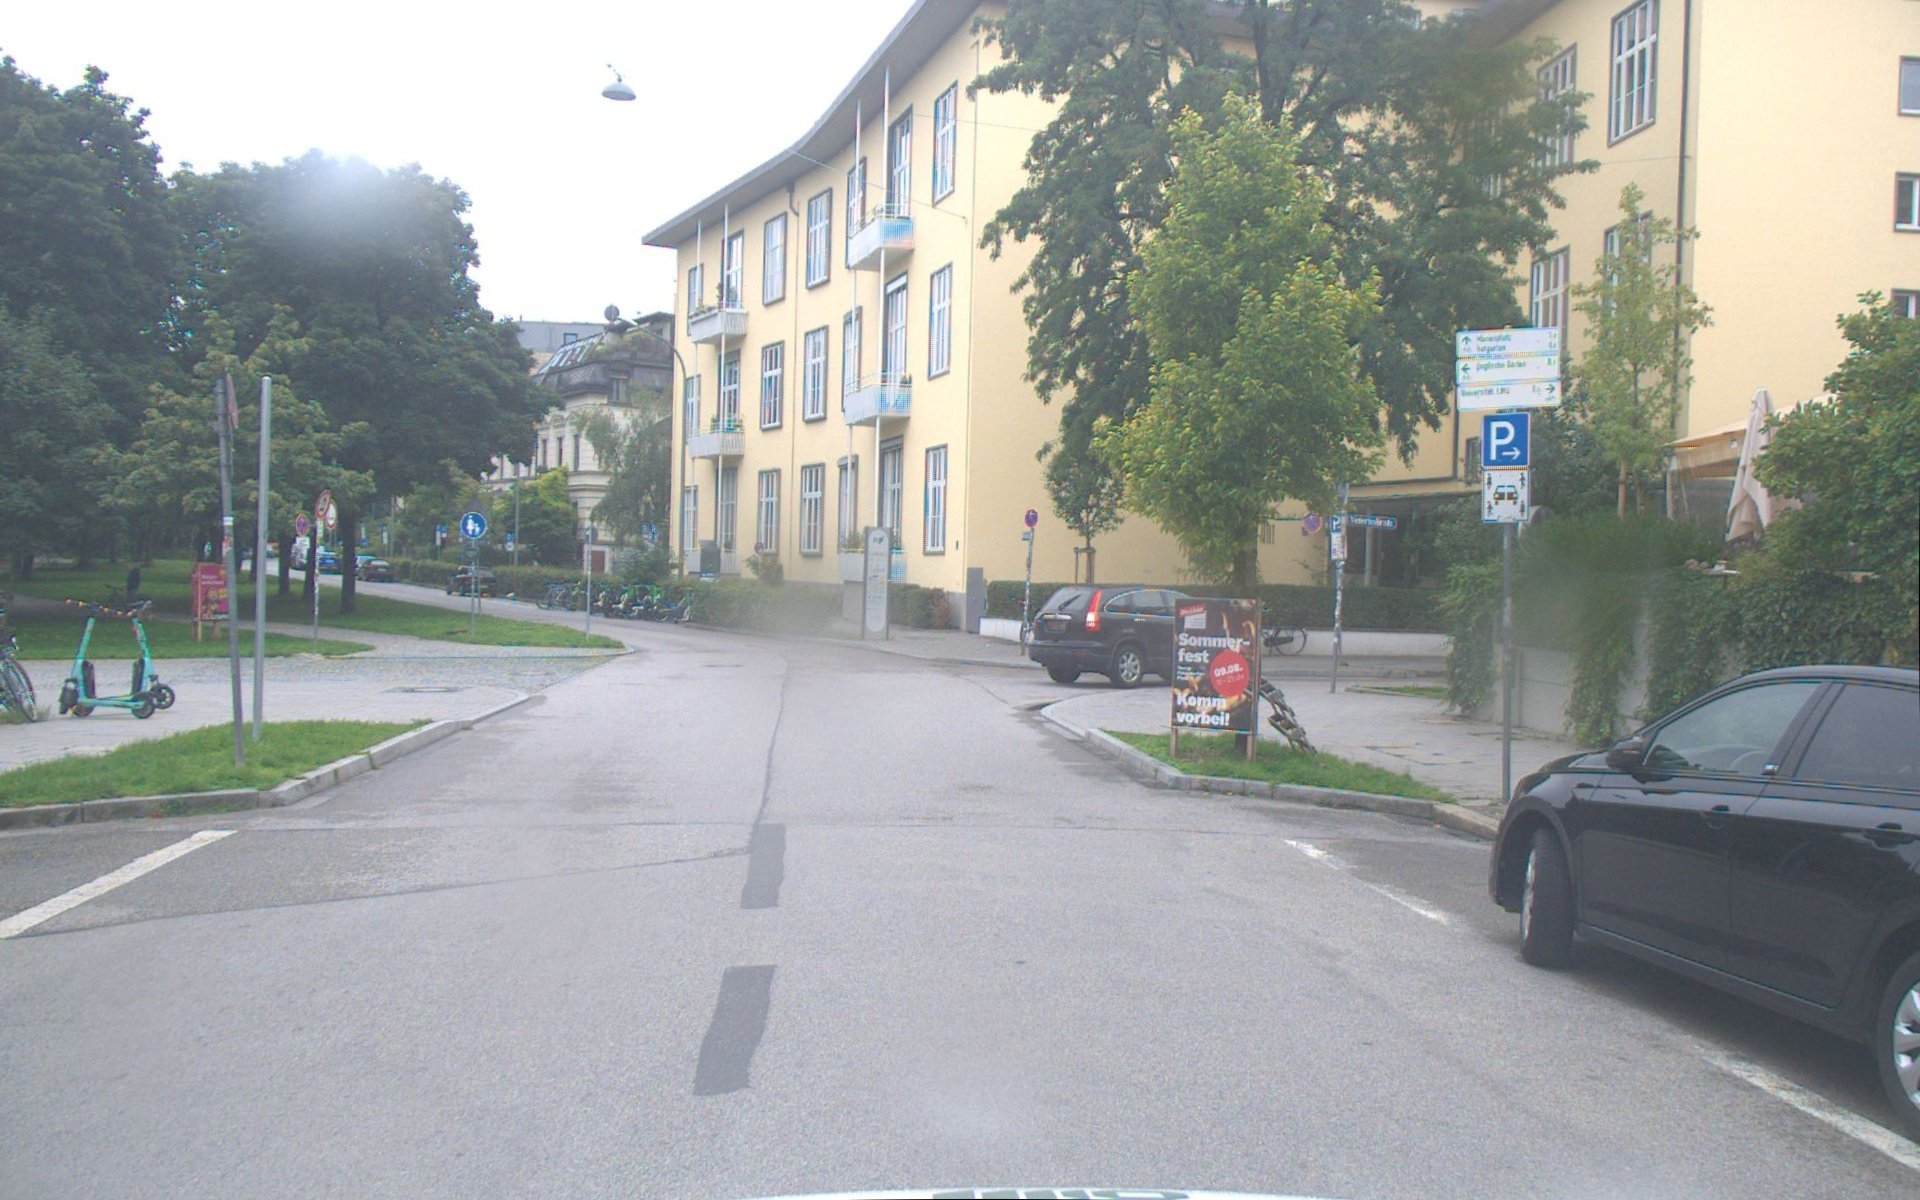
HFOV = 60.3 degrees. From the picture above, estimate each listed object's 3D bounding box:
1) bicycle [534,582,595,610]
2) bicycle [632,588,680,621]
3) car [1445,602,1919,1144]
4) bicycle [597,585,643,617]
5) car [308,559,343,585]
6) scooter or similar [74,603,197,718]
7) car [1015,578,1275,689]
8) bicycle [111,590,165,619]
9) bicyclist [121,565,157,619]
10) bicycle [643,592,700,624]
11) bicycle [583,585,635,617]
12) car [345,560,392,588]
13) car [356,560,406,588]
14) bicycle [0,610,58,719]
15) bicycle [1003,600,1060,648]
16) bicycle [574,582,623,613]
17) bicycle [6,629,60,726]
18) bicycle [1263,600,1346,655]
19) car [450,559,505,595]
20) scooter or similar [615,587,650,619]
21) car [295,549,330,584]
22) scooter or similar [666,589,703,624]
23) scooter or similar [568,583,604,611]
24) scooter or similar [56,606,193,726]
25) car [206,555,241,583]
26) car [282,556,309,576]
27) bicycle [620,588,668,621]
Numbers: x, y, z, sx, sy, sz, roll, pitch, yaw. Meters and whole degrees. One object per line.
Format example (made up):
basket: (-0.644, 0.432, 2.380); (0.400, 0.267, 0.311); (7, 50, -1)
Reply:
bicycle: (-15.969, -0.154, 66.742); (2.311, 1.104, 0.684); (0, 1, -35)
bicycle: (-10.559, 0.142, 57.502); (0.564, 1.104, 1.931); (1, 1, 28)
car: (3.544, 0.889, 6.416); (1.672, 1.544, 3.953); (5, 0, -7)
bicycle: (-12.056, 0.033, 58.693); (0.624, 1.104, 1.986); (1, 1, 20)
car: (-45.967, -2.045, 119.787); (1.855, 1.847, 3.962); (1, 1, -29)
scooter or similar: (-9.328, 0.663, 18.742); (0.437, 1.241, 1.178); (-1, 0, 33)
car: (3.223, 0.550, 28.381); (4.338, 1.723, 1.973); (1, 1, -40)
bicycle: (-23.053, 0.123, 46.399); (1.328, 0.789, 0.440); (2, 0, 7)
bicyclist: (-23.049, -0.223, 46.422); (0.614, 1.486, 0.646); (1, 0, 8)
bicycle: (-9.645, 0.256, 55.347); (1.805, 1.023, 0.571); (0, 1, -32)
bicycle: (-12.593, 0.015, 59.396); (0.681, 1.104, 2.339); (1, 1, 20)
car: (-38.465, -1.710, 107.455); (2.153, 1.686, 4.462); (1, 1, -29)
car: (-35.738, -1.612, 102.060); (2.153, 1.686, 4.462); (1, 1, -29)
bicycle: (-10.927, 0.716, 18.841); (1.474, 1.154, 0.650); (2, 1, 41)
bicycle: (1.716, 0.563, 40.072); (0.599, 1.091, 2.204); (0, 1, -20)
bicycle: (-13.352, -0.106, 61.130); (0.747, 1.104, 2.141); (1, 1, 20)
bicycle: (-9.764, 0.803, 17.444); (0.465, 0.939, 1.193); (1, 1, -29)
bicycle: (7.601, 0.601, 36.516); (1.699, 1.170, 0.610); (1, 0, 0)
car: (-23.367, -1.141, 79.983); (1.840, 1.662, 4.248); (1, 1, -26)
scooter or similar: (-11.545, 0.102, 58.374); (0.485, 1.107, 1.409); (1, 1, 24)
car: (-50.231, -2.580, 128.202); (1.855, 2.613, 4.885); (1, 1, -29)
scooter or similar: (-9.012, 0.199, 54.085); (0.485, 1.128, 1.409); (1, 1, 24)
scooter or similar: (-14.726, -0.114, 65.124); (1.380, 1.107, 0.595); (0, 1, -11)
scooter or similar: (-9.065, 0.706, 17.977); (1.154, 1.241, 0.602); (-1, 0, -1)
car: (-52.016, -2.177, 116.805); (1.971, 1.870, 3.962); (1, 1, -29)
car: (-55.515, -2.843, 138.226); (1.626, 1.681, 4.245); (1, 1, -28)
bicycle: (-11.070, 0.142, 58.040); (0.564, 1.104, 1.931); (1, 1, 28)
